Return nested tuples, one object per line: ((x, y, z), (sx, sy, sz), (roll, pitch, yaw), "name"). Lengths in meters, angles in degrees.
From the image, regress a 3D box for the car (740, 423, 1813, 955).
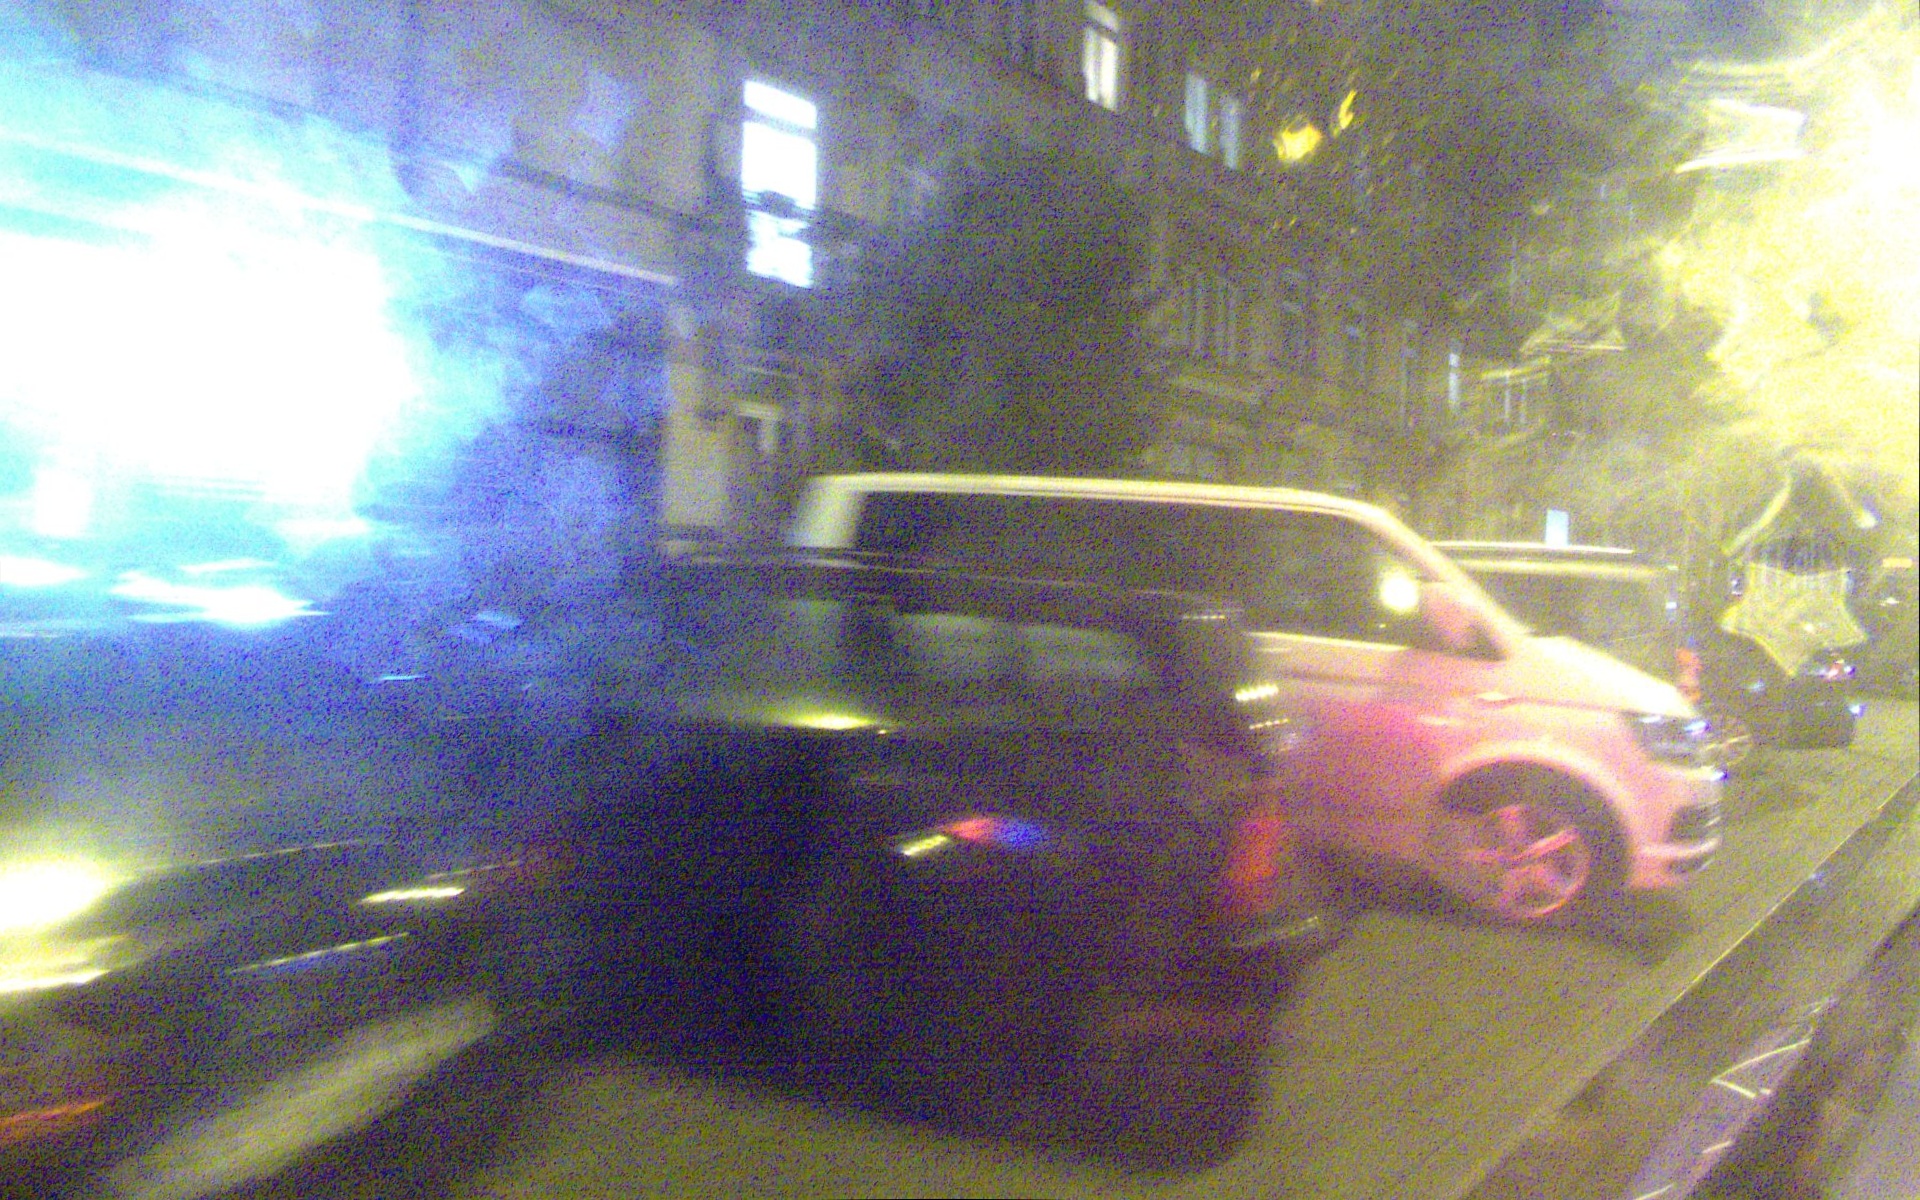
((1.380, 0.262, 5.709), (4.739, 2.074, 2.054), (2, 1, 19), "car")

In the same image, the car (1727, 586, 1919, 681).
((16.499, 0.594, 18.473), (3.595, 1.600, 1.588), (1, 1, 11), "car")

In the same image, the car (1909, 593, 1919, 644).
((31.202, 0.668, 30.346), (3.608, 1.560, 1.550), (3, 2, 20), "car")

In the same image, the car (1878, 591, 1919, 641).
((32.577, 0.573, 33.105), (3.350, 1.561, 1.572), (2, 2, 14), "car")

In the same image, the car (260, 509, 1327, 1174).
((-0.585, 0.519, 3.686), (3.469, 1.512, 1.442), (4, 3, 18), "car")

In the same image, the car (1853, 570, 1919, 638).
((34.502, 0.181, 35.205), (4.656, 2.275, 1.939), (2, 2, 14), "car")

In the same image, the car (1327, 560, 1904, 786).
((5.471, 0.498, 9.109), (3.950, 1.510, 1.724), (4, 3, 19), "car")

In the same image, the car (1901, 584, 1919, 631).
((41.208, 0.421, 40.907), (4.186, 1.881, 1.710), (4, 3, 14), "car")

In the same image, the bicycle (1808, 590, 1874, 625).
((39.021, 0.308, 44.834), (0.767, 1.351, 1.980), (1, 4, -34), "bicycle")

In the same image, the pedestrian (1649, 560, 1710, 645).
((16.510, 0.044, 23.225), (0.976, 1.878, 0.870), (1, 3, -43), "pedestrian")

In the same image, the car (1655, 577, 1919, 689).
((13.939, 0.509, 16.754), (3.603, 1.600, 1.584), (3, 1, 16), "car")

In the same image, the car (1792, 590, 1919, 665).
((20.828, 0.618, 22.144), (3.631, 1.478, 1.597), (3, 2, 15), "car")

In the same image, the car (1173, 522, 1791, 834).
((3.492, 0.389, 7.390), (3.523, 1.732, 1.635), (4, 3, 21), "car")

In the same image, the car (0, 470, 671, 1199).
((-2.579, 0.500, 1.903), (3.514, 1.502, 1.719), (3, 3, 14), "car")
